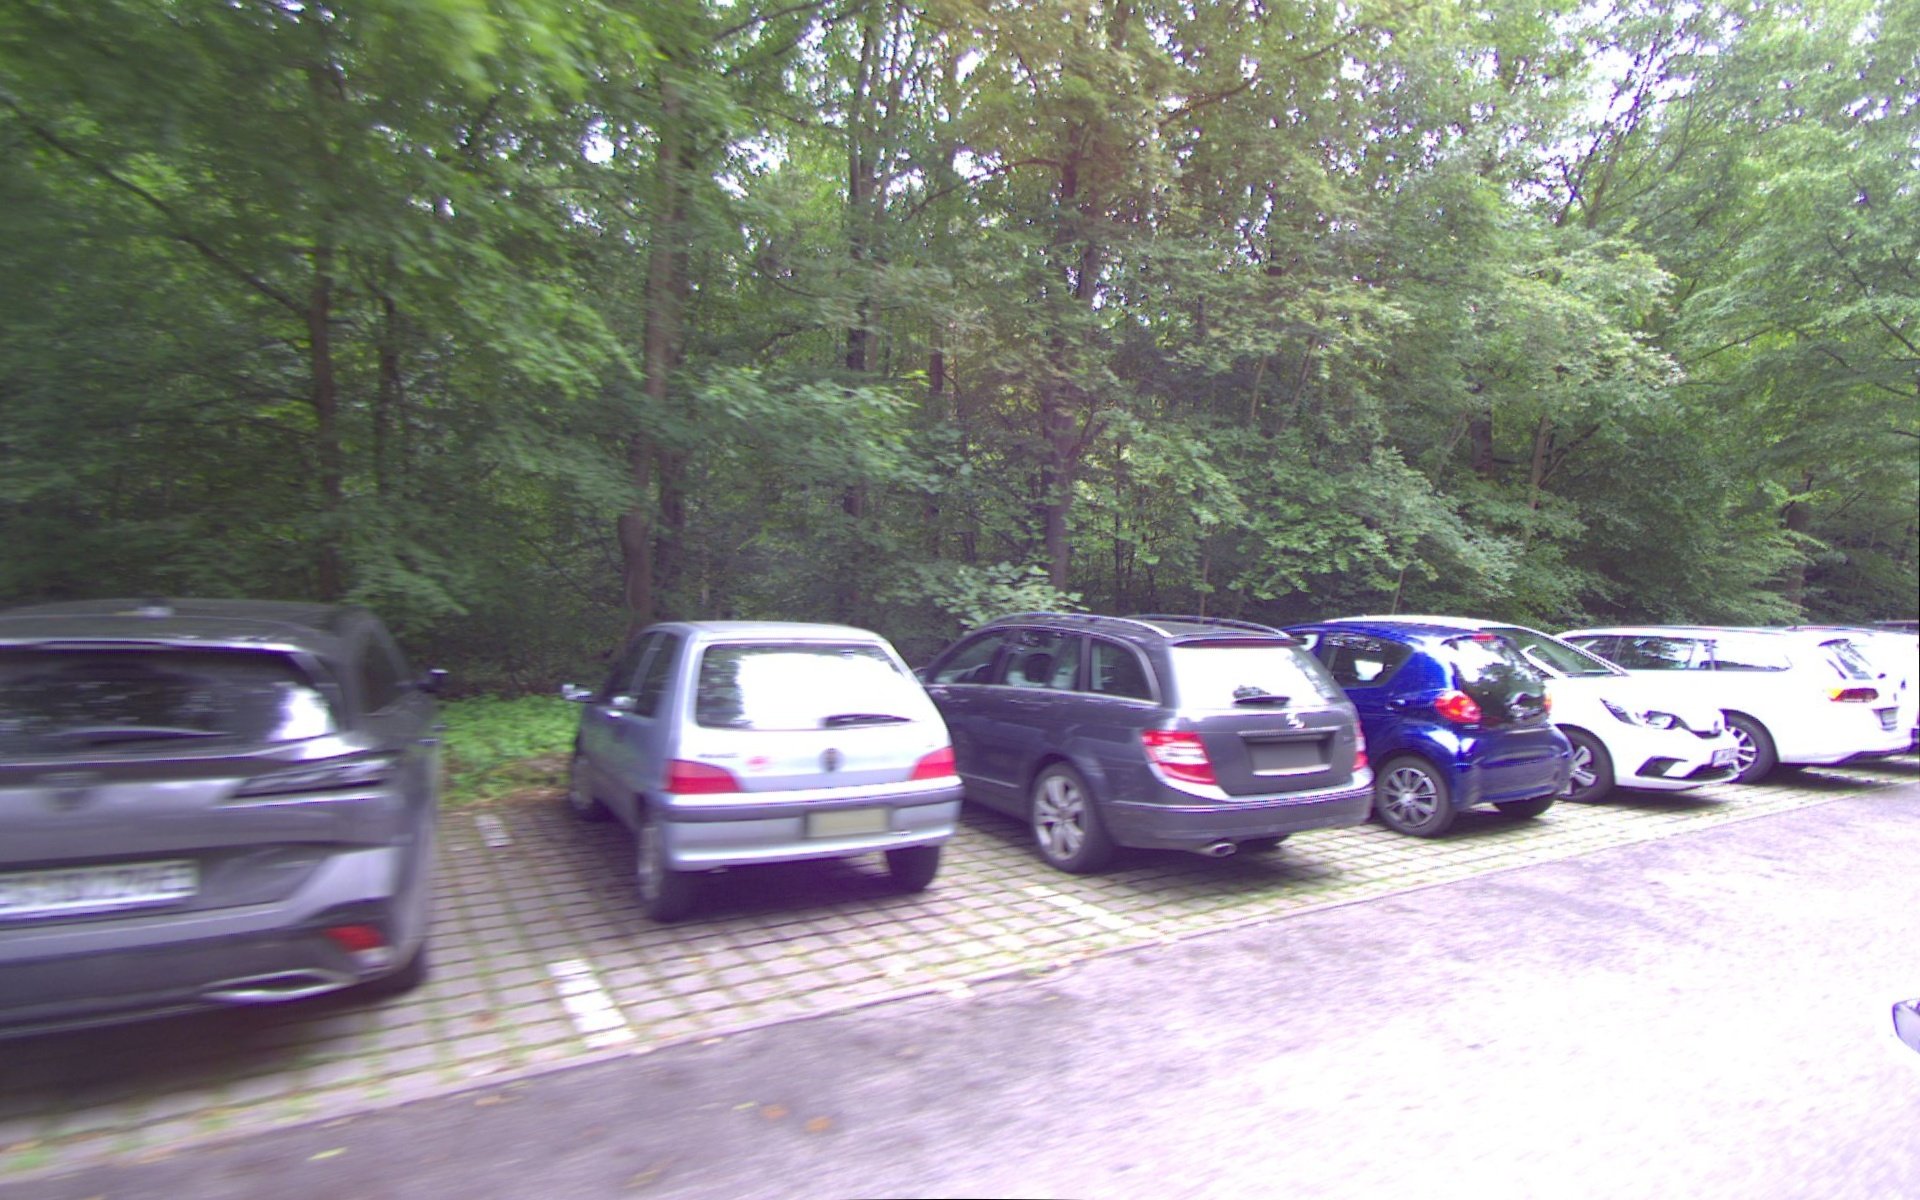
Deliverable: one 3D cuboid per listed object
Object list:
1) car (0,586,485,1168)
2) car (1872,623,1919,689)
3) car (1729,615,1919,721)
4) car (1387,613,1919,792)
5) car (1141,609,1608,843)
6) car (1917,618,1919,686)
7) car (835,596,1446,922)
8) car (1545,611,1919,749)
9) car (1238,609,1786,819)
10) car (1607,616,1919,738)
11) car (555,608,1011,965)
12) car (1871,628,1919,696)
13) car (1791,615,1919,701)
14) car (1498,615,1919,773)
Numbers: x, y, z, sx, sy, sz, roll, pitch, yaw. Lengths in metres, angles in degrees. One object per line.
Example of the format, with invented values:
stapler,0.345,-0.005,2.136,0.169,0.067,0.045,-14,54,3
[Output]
car,-3.368,0.687,4.491,2.010,1.443,4.386,1,0,-28
car,23.358,1.341,22.499,1.779,1.484,4.001,1,0,-32
car,15.353,1.088,16.444,1.900,1.575,4.008,1,0,-34
car,7.425,0.935,11.162,2.066,1.466,4.531,1,0,-36
car,3.231,0.846,8.322,1.662,1.463,3.199,1,0,-33
car,25.492,1.333,23.459,2.008,1.655,4.199,1,1,-33
car,0.860,0.764,7.091,2.033,1.506,4.247,1,0,-29
car,10.979,0.982,13.975,1.921,1.506,4.534,1,0,-34
car,5.082,0.896,9.863,1.873,1.506,4.337,2,-1,-35
car,12.801,1.098,15.664,1.831,1.571,4.202,1,0,-38
car,-1.380,0.799,6.208,1.734,1.405,3.742,1,0,-27
car,21.659,1.371,20.709,1.769,1.382,3.961,1,1,-35
car,19.279,1.155,19.501,1.907,1.605,4.487,1,0,-34
car,9.388,0.993,12.397,1.849,1.506,4.537,1,0,-32
